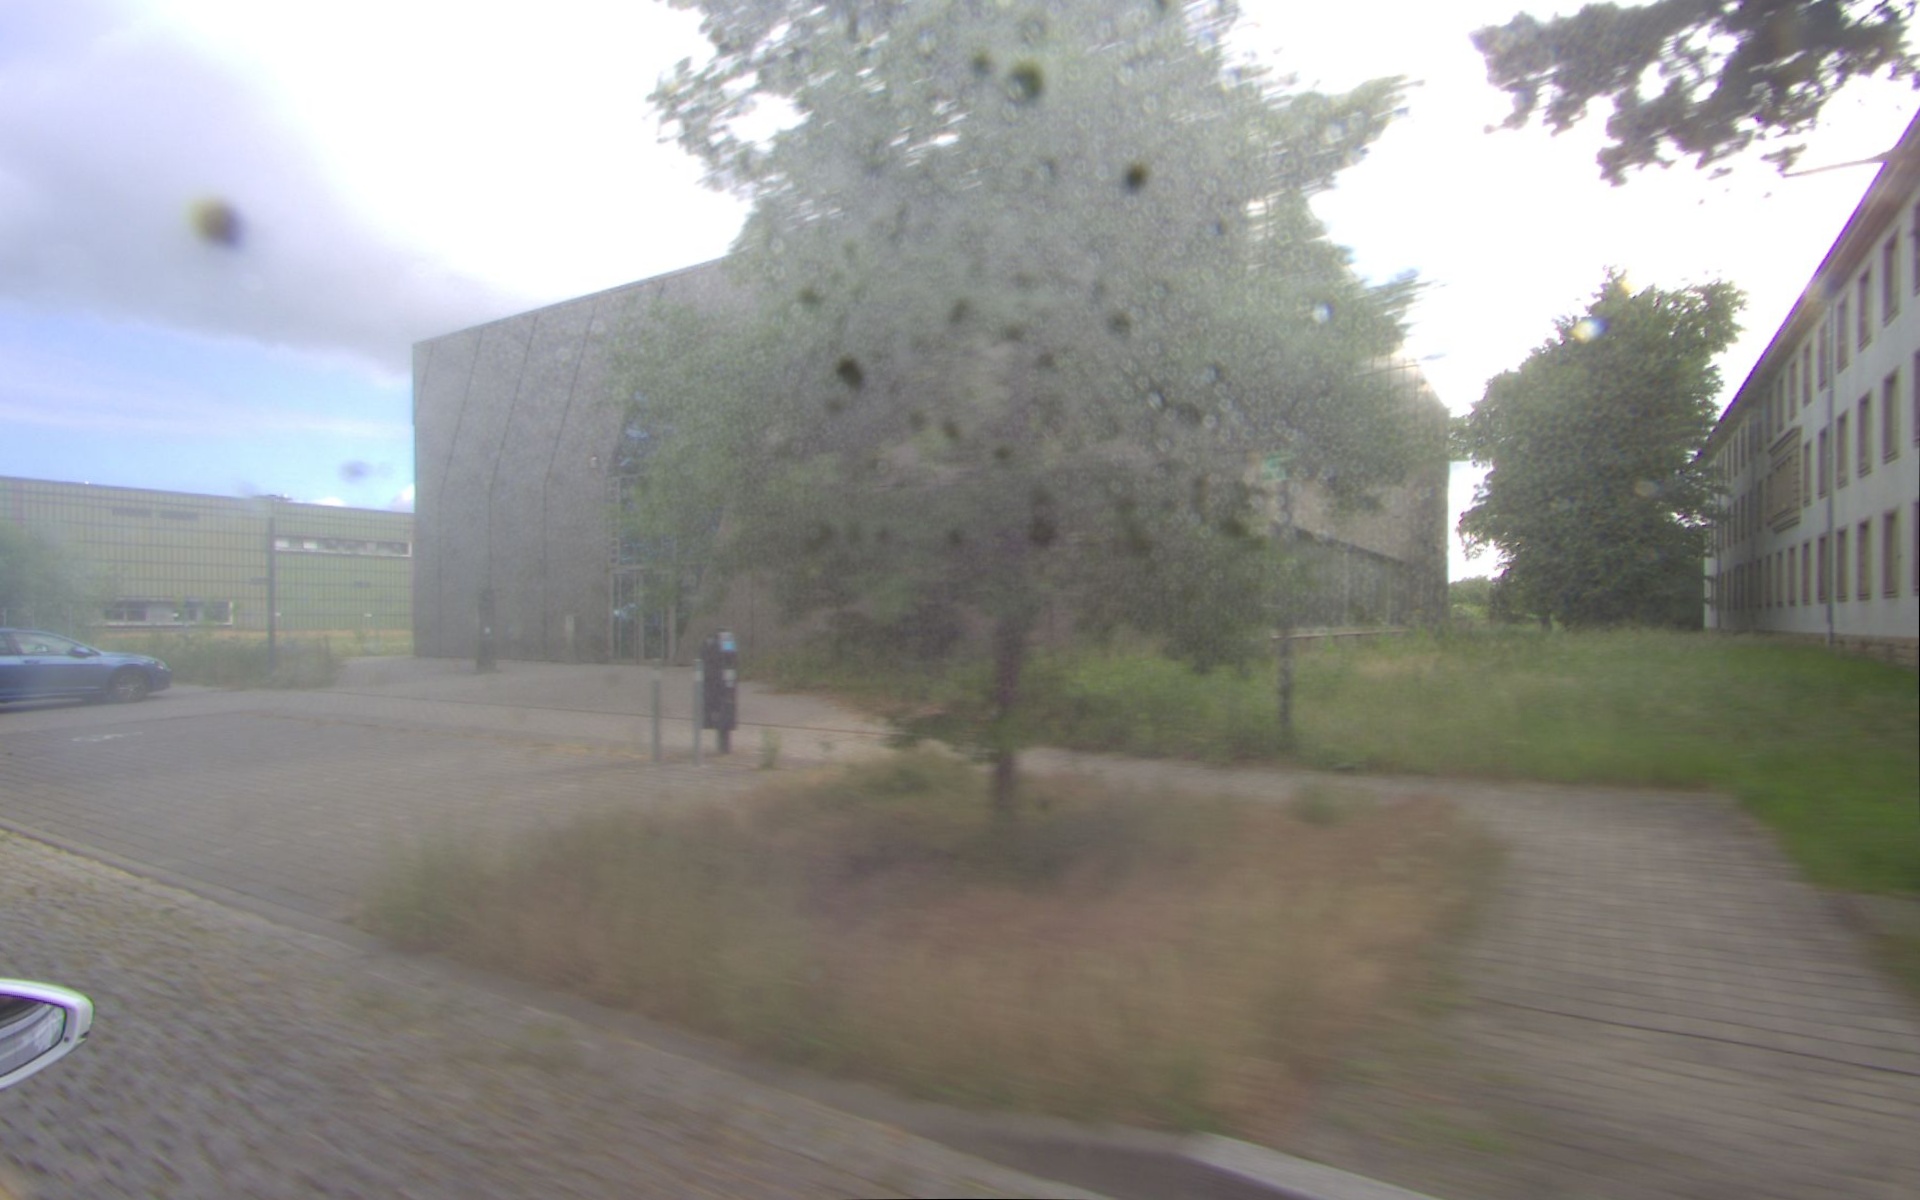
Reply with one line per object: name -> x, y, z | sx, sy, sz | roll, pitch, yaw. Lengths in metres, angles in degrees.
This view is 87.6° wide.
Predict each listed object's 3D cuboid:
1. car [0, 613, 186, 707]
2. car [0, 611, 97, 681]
car -> -17.046, 1.048, 18.020 | 1.970, 1.552, 4.512 | 0, 0, 29
car -> -22.719, 1.051, 22.637 | 1.972, 1.552, 4.507 | 0, 0, 33
